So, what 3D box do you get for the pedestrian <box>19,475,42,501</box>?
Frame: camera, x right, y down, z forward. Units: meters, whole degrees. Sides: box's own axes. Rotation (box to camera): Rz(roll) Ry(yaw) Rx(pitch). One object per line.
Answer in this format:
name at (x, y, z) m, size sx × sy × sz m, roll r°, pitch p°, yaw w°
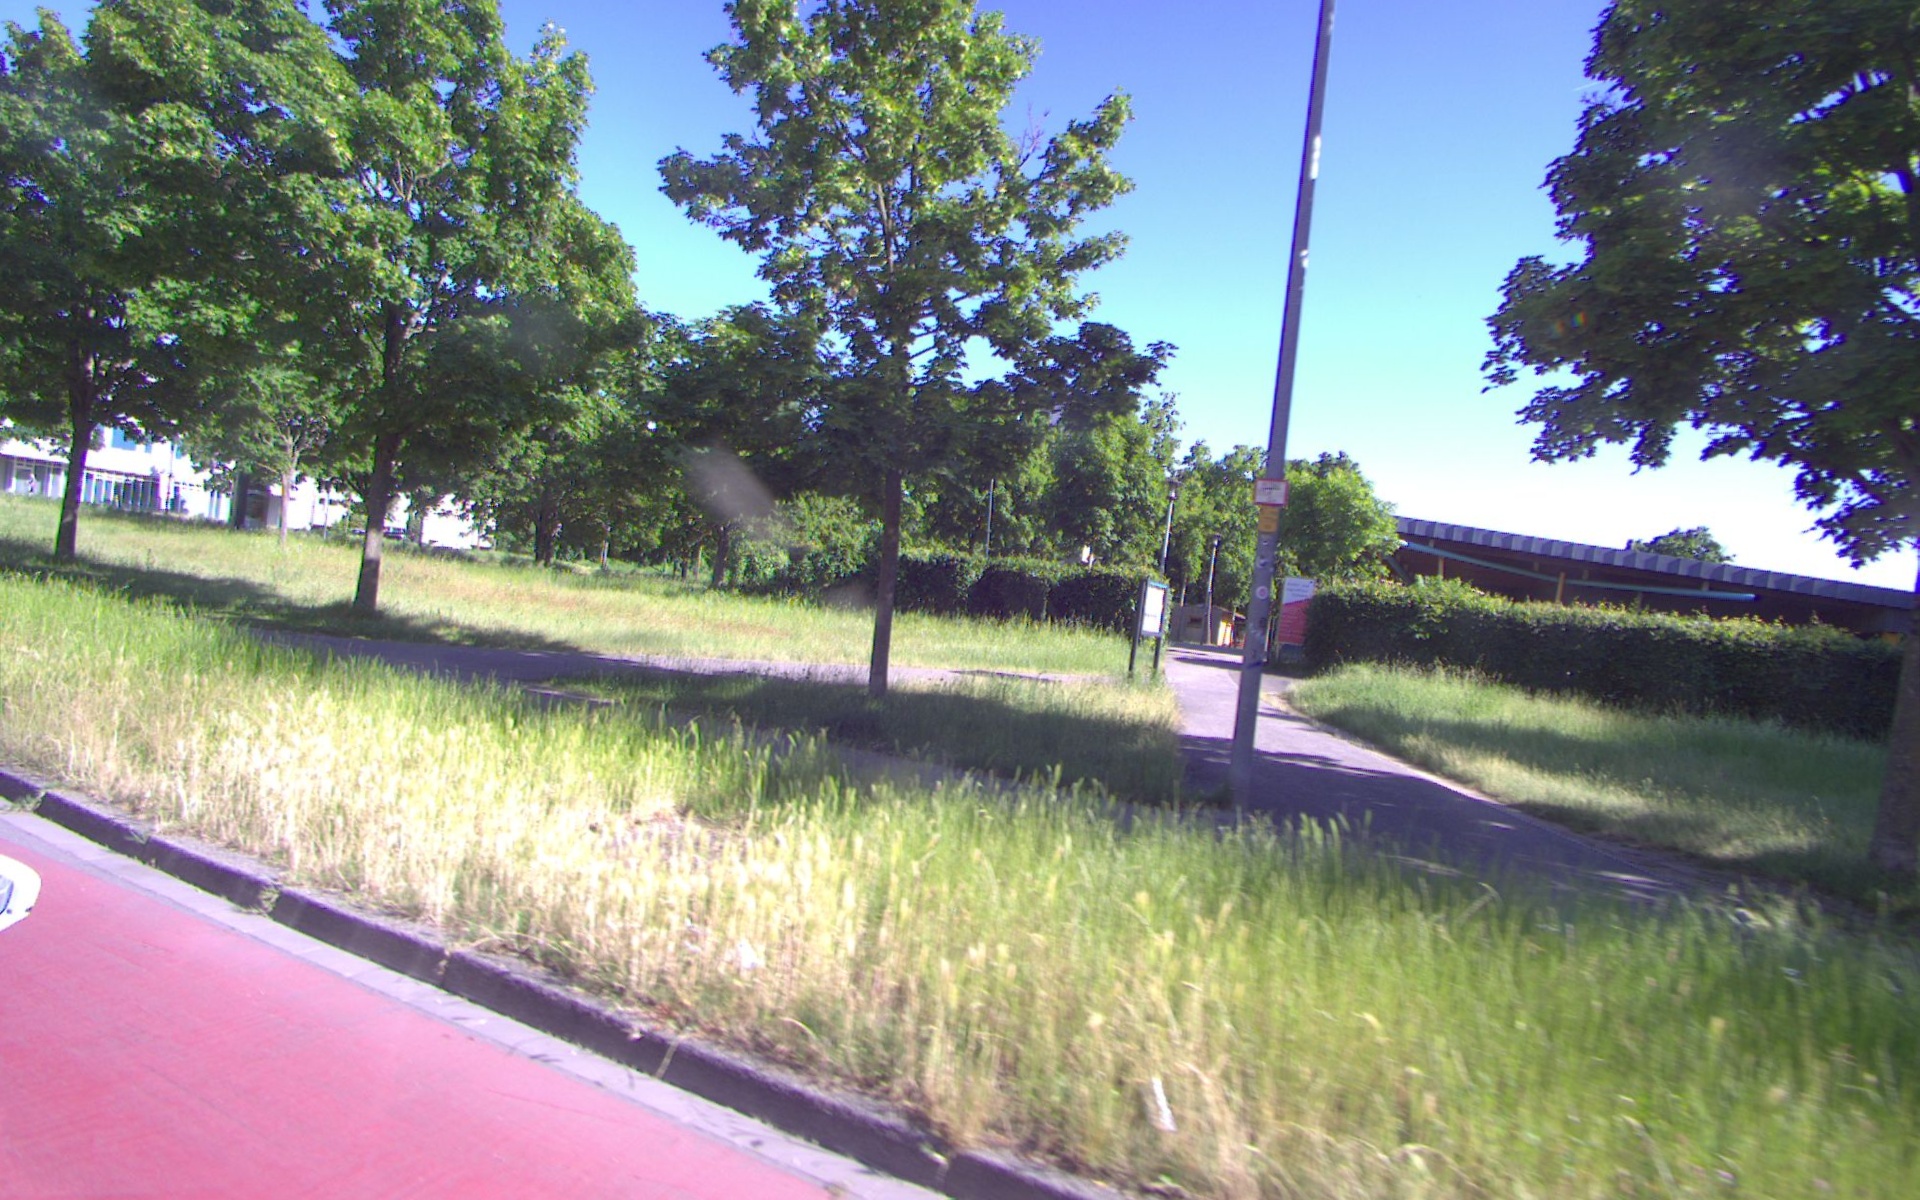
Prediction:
pedestrian at (-68.747, -8.309, 74.406) m, size 0.642 × 1.745 × 0.992 m, roll 7°, pitch 1°, yaw 23°
